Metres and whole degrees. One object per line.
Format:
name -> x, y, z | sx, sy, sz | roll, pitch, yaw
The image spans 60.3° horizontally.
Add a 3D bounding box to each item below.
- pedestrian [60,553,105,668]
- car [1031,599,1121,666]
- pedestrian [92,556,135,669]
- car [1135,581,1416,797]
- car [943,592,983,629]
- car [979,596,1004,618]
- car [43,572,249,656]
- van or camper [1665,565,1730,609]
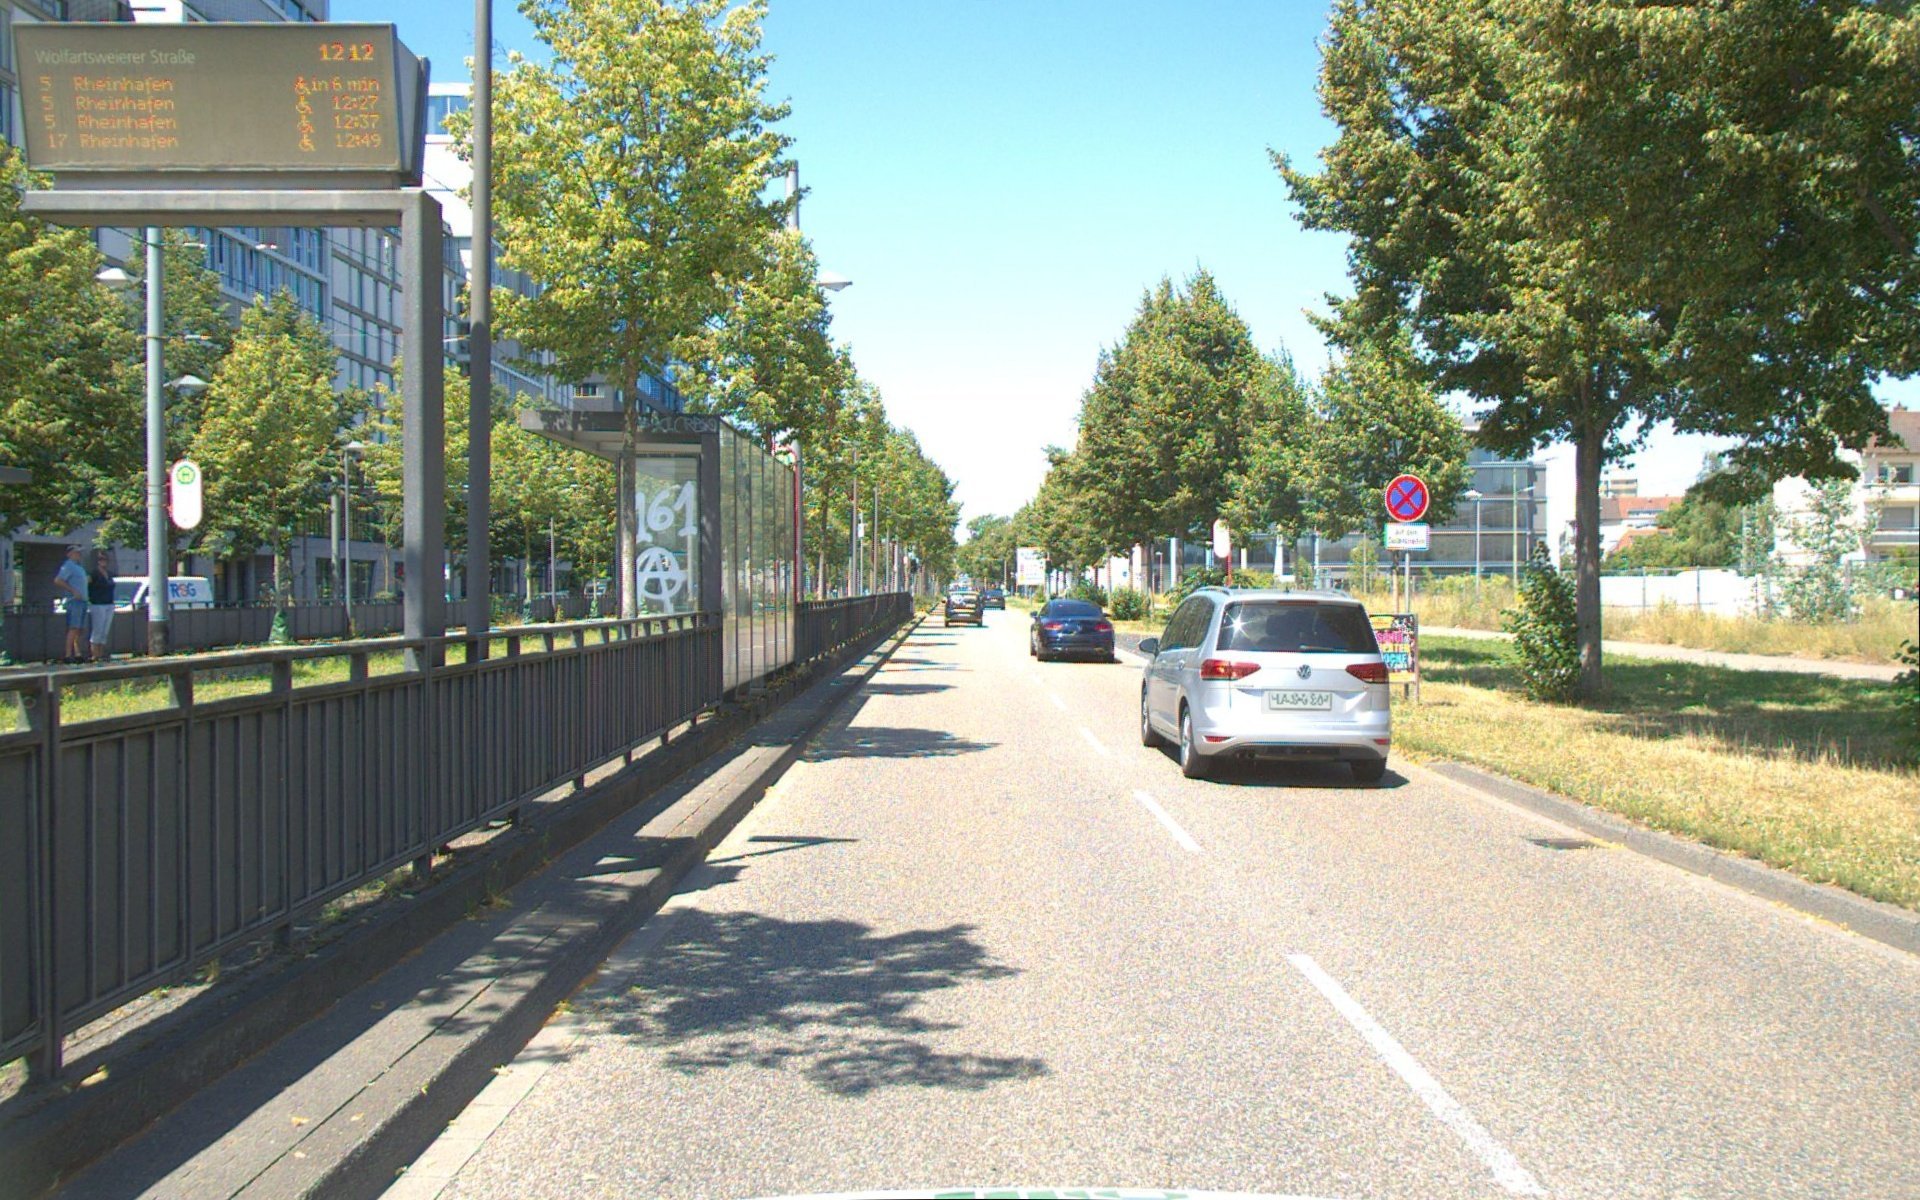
pedestrian -> -13.660, 0.162, 25.754 | 0.401, 1.782, 0.585 | 0, 0, -4
car -> 2.678, 0.728, 39.046 | 1.814, 1.462, 4.955 | 0, 0, 0
pedestrian -> -13.561, 0.198, 26.508 | 0.401, 1.782, 0.585 | 0, 0, -4
car -> 2.815, 0.700, 15.797 | 1.764, 1.677, 4.605 | 2, 1, 0
car -> 0.120, 0.460, 69.525 | 1.586, 1.477, 3.985 | 0, -1, -1
car -> 2.344, 0.523, 123.892 | 1.730, 1.655, 3.714 | 0, 0, -2
car -> -18.985, 0.306, 38.901 | 2.412, 1.837, 5.069 | 0, 0, -1
van or camper -> 48.783, -0.818, 109.490 | 1.954, 2.851, 4.658 | 0, 0, -5
